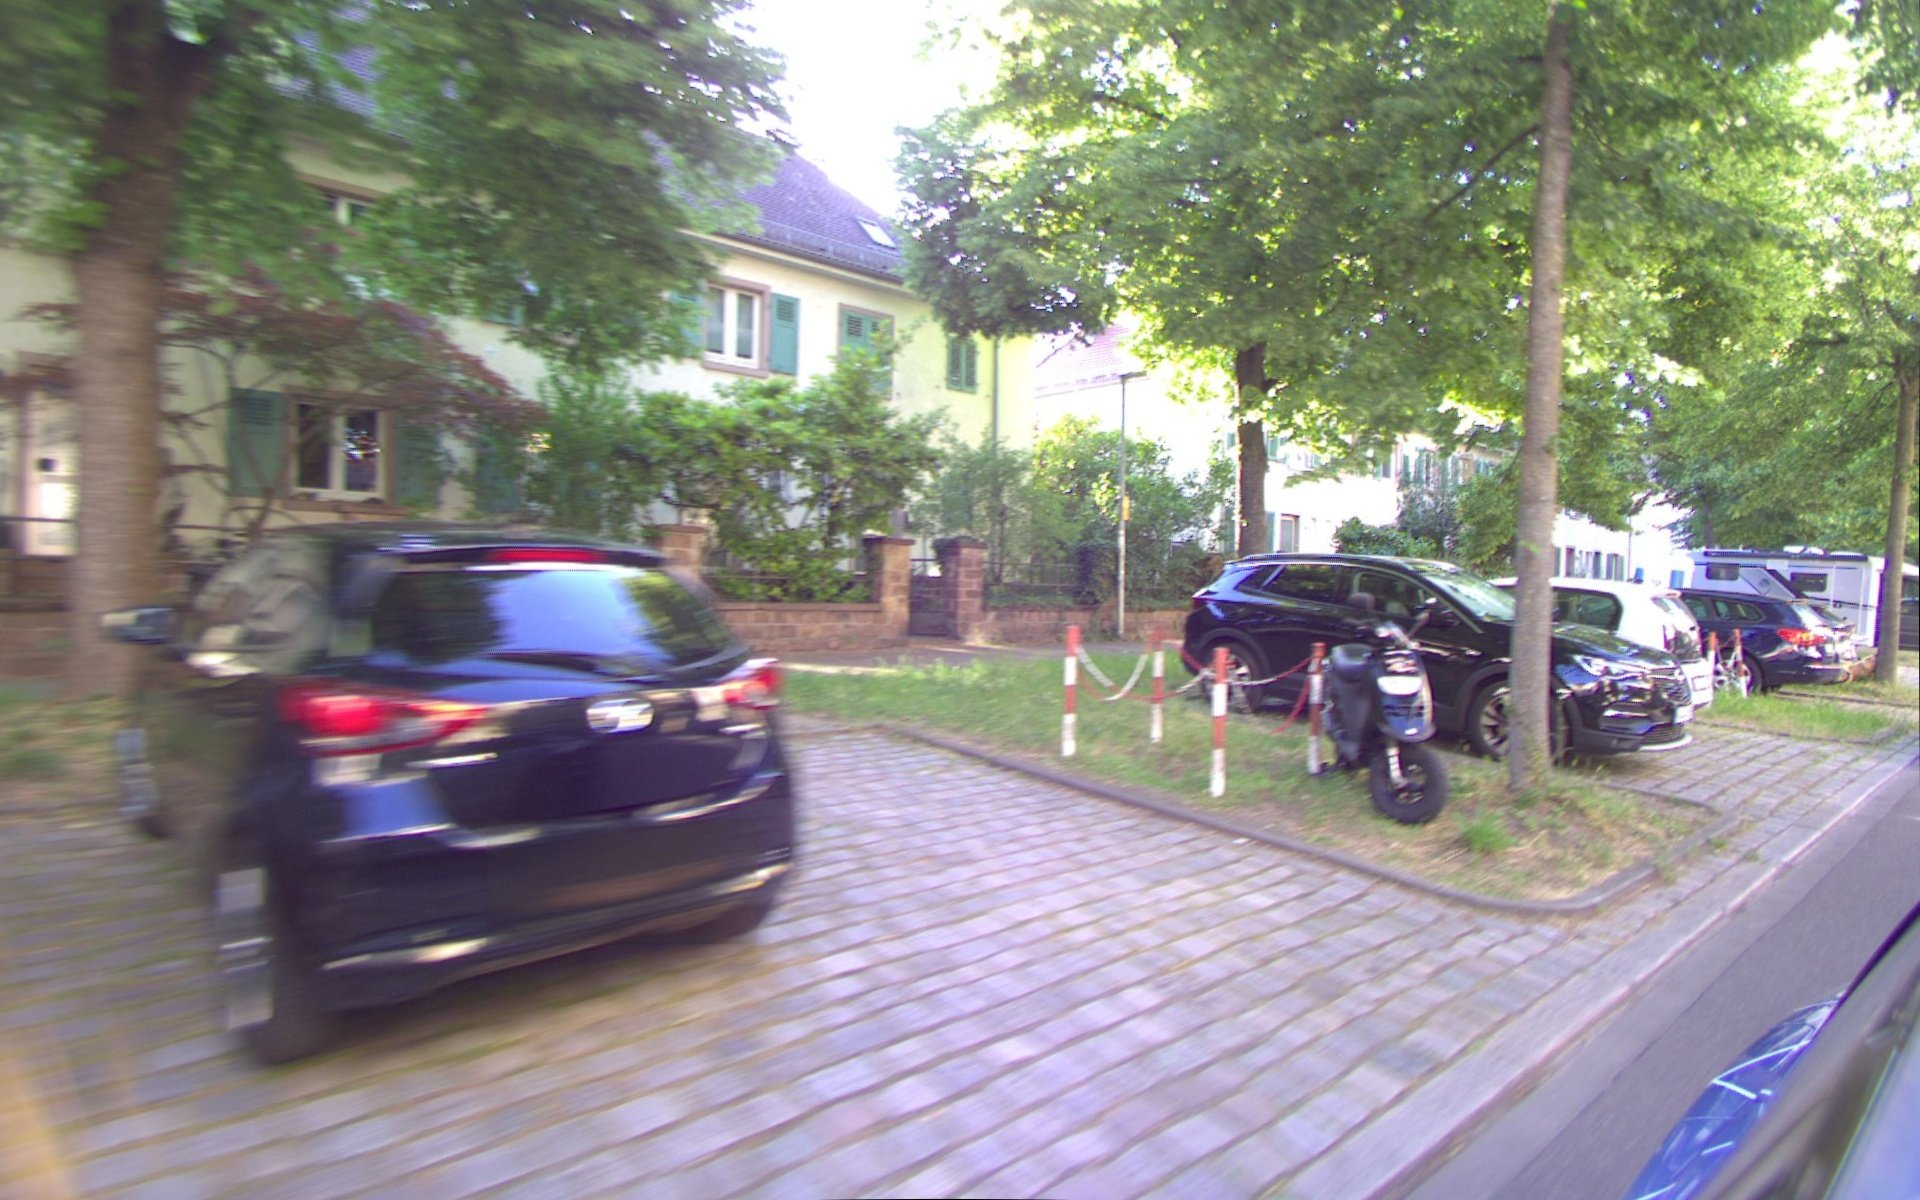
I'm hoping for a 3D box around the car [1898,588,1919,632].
[{"bbox_3d":[44.234,0.514,44.494,1.960,1.905,4.004,1,2,-31],"label":"car"}]

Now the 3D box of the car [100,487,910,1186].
[{"bbox_3d":[-2.170,0.362,4.138,1.759,1.490,3.879,-1,4,-45],"label":"car"}]

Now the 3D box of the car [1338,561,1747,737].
[{"bbox_3d":[6.173,0.394,11.014,1.664,1.493,3.456,0,3,-40],"label":"car"}]

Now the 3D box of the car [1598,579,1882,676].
[{"bbox_3d":[14.640,0.414,19.136,1.967,1.537,3.992,-1,3,-43],"label":"car"}]

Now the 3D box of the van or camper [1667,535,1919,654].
[{"bbox_3d":[23.500,-0.214,26.956,2.385,2.939,7.264,-1,3,-40],"label":"van or camper"}]

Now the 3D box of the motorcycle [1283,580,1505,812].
[{"bbox_3d":[2.617,0.498,6.334,0.725,1.212,1.774,2,1,5],"label":"motorcycle"}]

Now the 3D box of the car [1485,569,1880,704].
[{"bbox_3d":[10.631,0.414,15.222,1.721,1.495,4.471,1,4,-39],"label":"car"}]

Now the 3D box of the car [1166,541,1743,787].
[{"bbox_3d":[4.262,0.348,9.321,1.895,1.627,4.342,0,4,-41],"label":"car"}]

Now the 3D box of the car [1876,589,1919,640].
[{"bbox_3d":[36.388,0.575,37.028,1.964,1.837,3.996,1,2,-40],"label":"car"}]
